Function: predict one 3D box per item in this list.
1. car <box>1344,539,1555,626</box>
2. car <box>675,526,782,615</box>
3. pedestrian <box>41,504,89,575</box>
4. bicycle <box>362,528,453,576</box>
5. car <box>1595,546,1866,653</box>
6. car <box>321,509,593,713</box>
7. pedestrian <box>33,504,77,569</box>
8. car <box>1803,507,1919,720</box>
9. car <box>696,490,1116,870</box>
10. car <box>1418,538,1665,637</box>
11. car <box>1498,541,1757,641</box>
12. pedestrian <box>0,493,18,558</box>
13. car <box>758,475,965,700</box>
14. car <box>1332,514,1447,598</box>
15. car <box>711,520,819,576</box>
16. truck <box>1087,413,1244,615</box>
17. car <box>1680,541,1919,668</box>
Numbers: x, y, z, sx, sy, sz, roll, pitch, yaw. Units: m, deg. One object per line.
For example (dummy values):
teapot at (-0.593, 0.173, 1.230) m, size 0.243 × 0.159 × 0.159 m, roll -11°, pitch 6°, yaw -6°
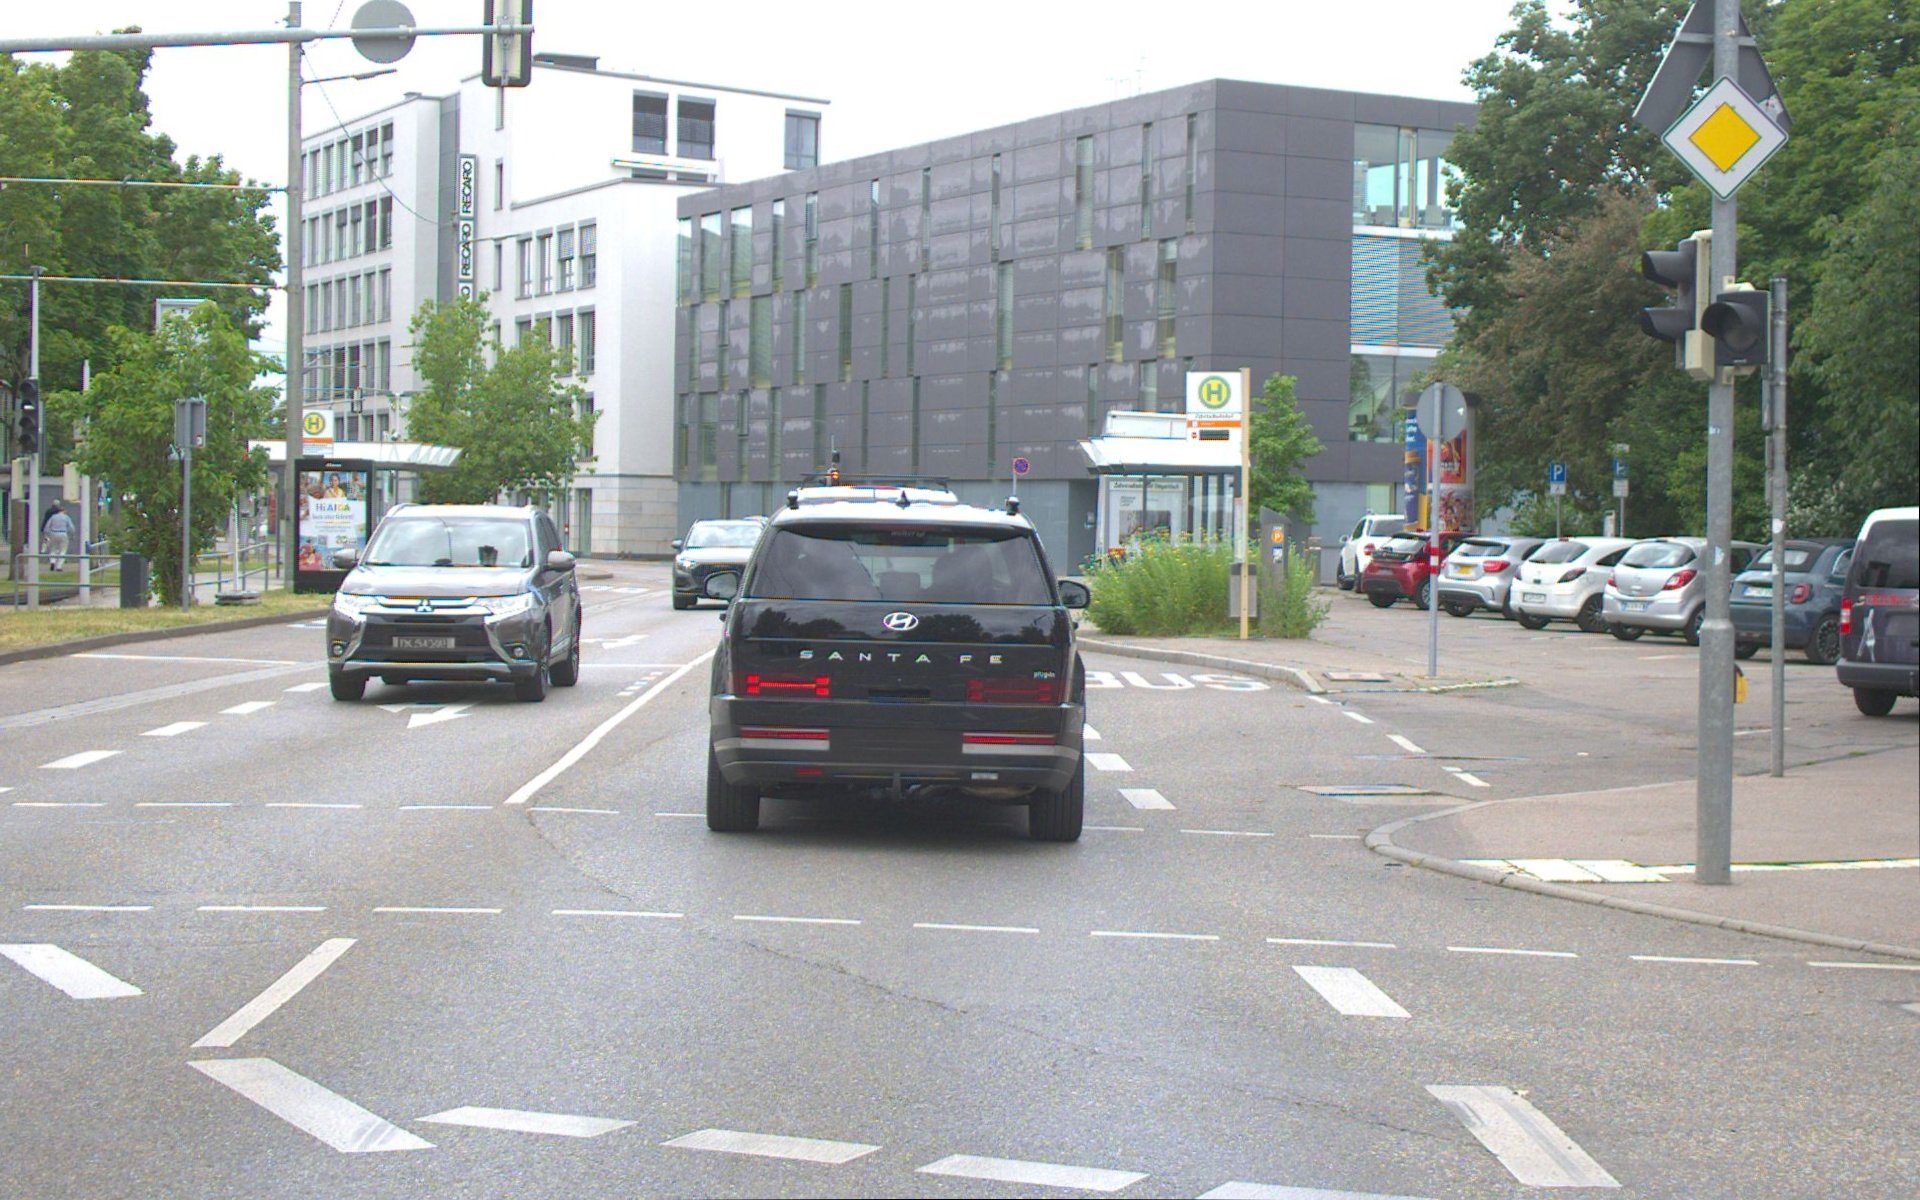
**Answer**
car at (9.047, -0.315, 63.545) m, size 3.491 × 1.450 × 1.681 m, roll 2°, pitch 0°, yaw -28°
car at (-4.169, -0.554, 62.309) m, size 1.739 × 1.554 × 4.184 m, roll 0°, pitch 1°, yaw -1°
pedestrian at (-21.839, -1.472, 83.911) m, size 0.919 × 1.713 × 0.906 m, roll 1°, pitch 1°, yaw -1°
bicycle at (-13.577, -1.185, 84.484) m, size 2.099 × 1.102 × 0.631 m, roll 2°, pitch 1°, yaw 2°
car at (10.613, -0.032, 47.316) m, size 3.505 × 1.373 × 1.547 m, roll -1°, pitch 3°, yaw -31°
car at (-4.328, 0.044, 30.156) m, size 1.788 × 1.656 × 4.277 m, roll 0°, pitch 1°, yaw 0°
pedestrian at (-24.171, -1.686, 91.876) m, size 0.919 × 1.713 × 0.906 m, roll 1°, pitch 1°, yaw -1°
car at (9.250, 0.080, 30.188) m, size 1.849 × 1.742 × 4.685 m, roll 2°, pitch 2°, yaw 37°
car at (-0.353, 0.334, 18.352) m, size 1.915 × 1.719 × 4.171 m, roll 3°, pitch 1°, yaw -3°
car at (9.881, -0.210, 58.377) m, size 3.790 × 1.468 × 1.798 m, roll 3°, pitch 0°, yaw -30°
car at (10.173, -0.143, 52.349) m, size 3.638 × 1.430 × 1.592 m, roll -1°, pitch 0°, yaw -27°
pedestrian at (-25.490, -1.984, 91.397) m, size 0.613 × 1.689 × 0.785 m, roll 2°, pitch 0°, yaw -1°
car at (-0.993, -0.174, 33.482) m, size 1.855 × 2.026 × 4.438 m, roll 1°, pitch 2°, yaw -3°
car at (9.737, -0.991, 78.214) m, size 1.993 × 1.831 × 4.518 m, roll 0°, pitch 0°, yaw 0°
car at (-5.953, -1.580, 104.351) m, size 1.847 × 1.671 × 4.376 m, roll -1°, pitch 1°, yaw -24°
truck at (3.777, -1.604, 64.608) m, size 2.573 × 3.513 × 7.810 m, roll 1°, pitch 1°, yaw 1°
car at (11.005, 0.054, 42.264) m, size 3.987 × 1.472 × 1.880 m, roll 1°, pitch 1°, yaw -32°
